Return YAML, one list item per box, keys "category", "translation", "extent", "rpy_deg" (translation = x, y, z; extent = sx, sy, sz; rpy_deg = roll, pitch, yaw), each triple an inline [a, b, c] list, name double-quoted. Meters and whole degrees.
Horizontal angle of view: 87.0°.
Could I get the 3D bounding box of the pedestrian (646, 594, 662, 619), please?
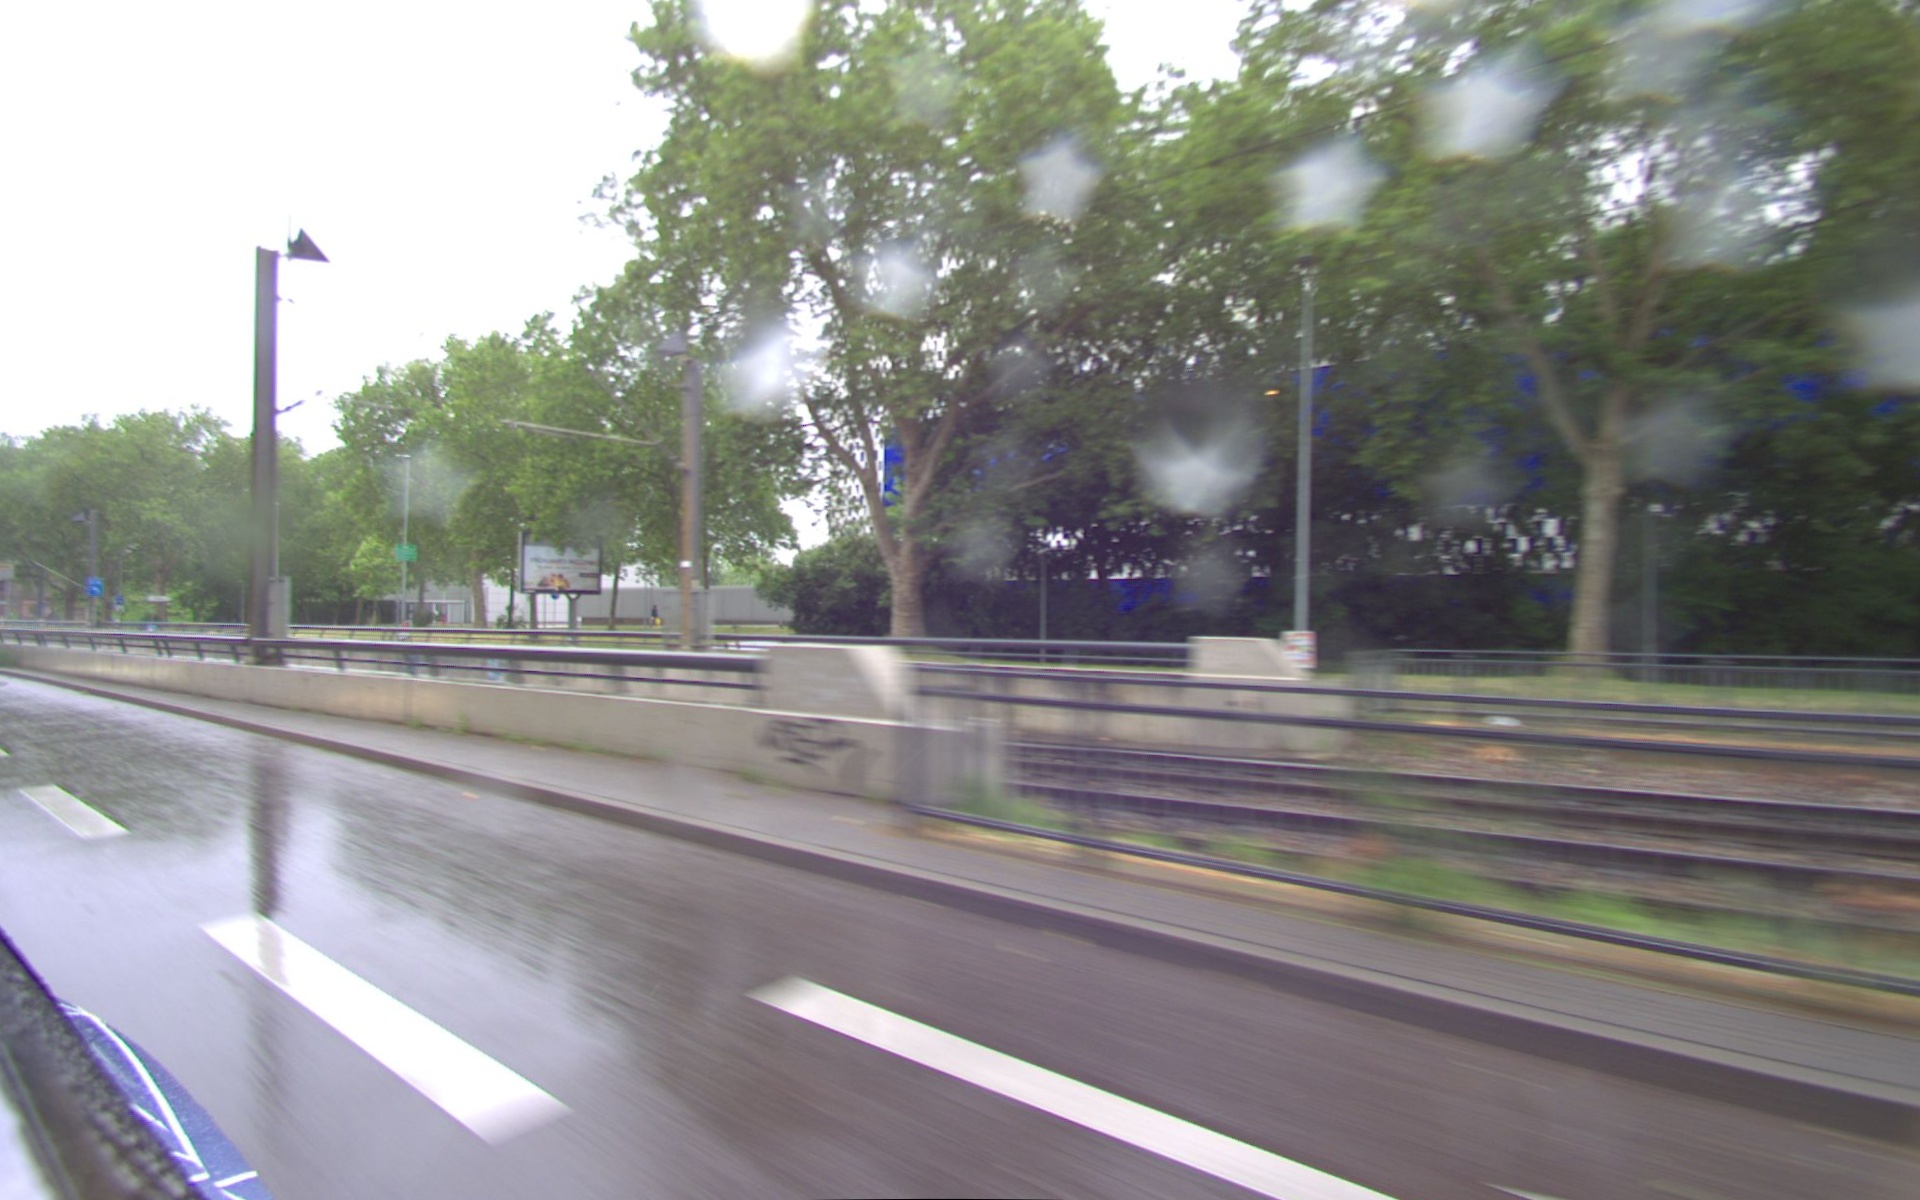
- category: "pedestrian"
  translation: [-25.482, 0.544, 84.205]
  extent: [0.789, 2.029, 0.991]
  rpy_deg: [-1, 0, 40]
